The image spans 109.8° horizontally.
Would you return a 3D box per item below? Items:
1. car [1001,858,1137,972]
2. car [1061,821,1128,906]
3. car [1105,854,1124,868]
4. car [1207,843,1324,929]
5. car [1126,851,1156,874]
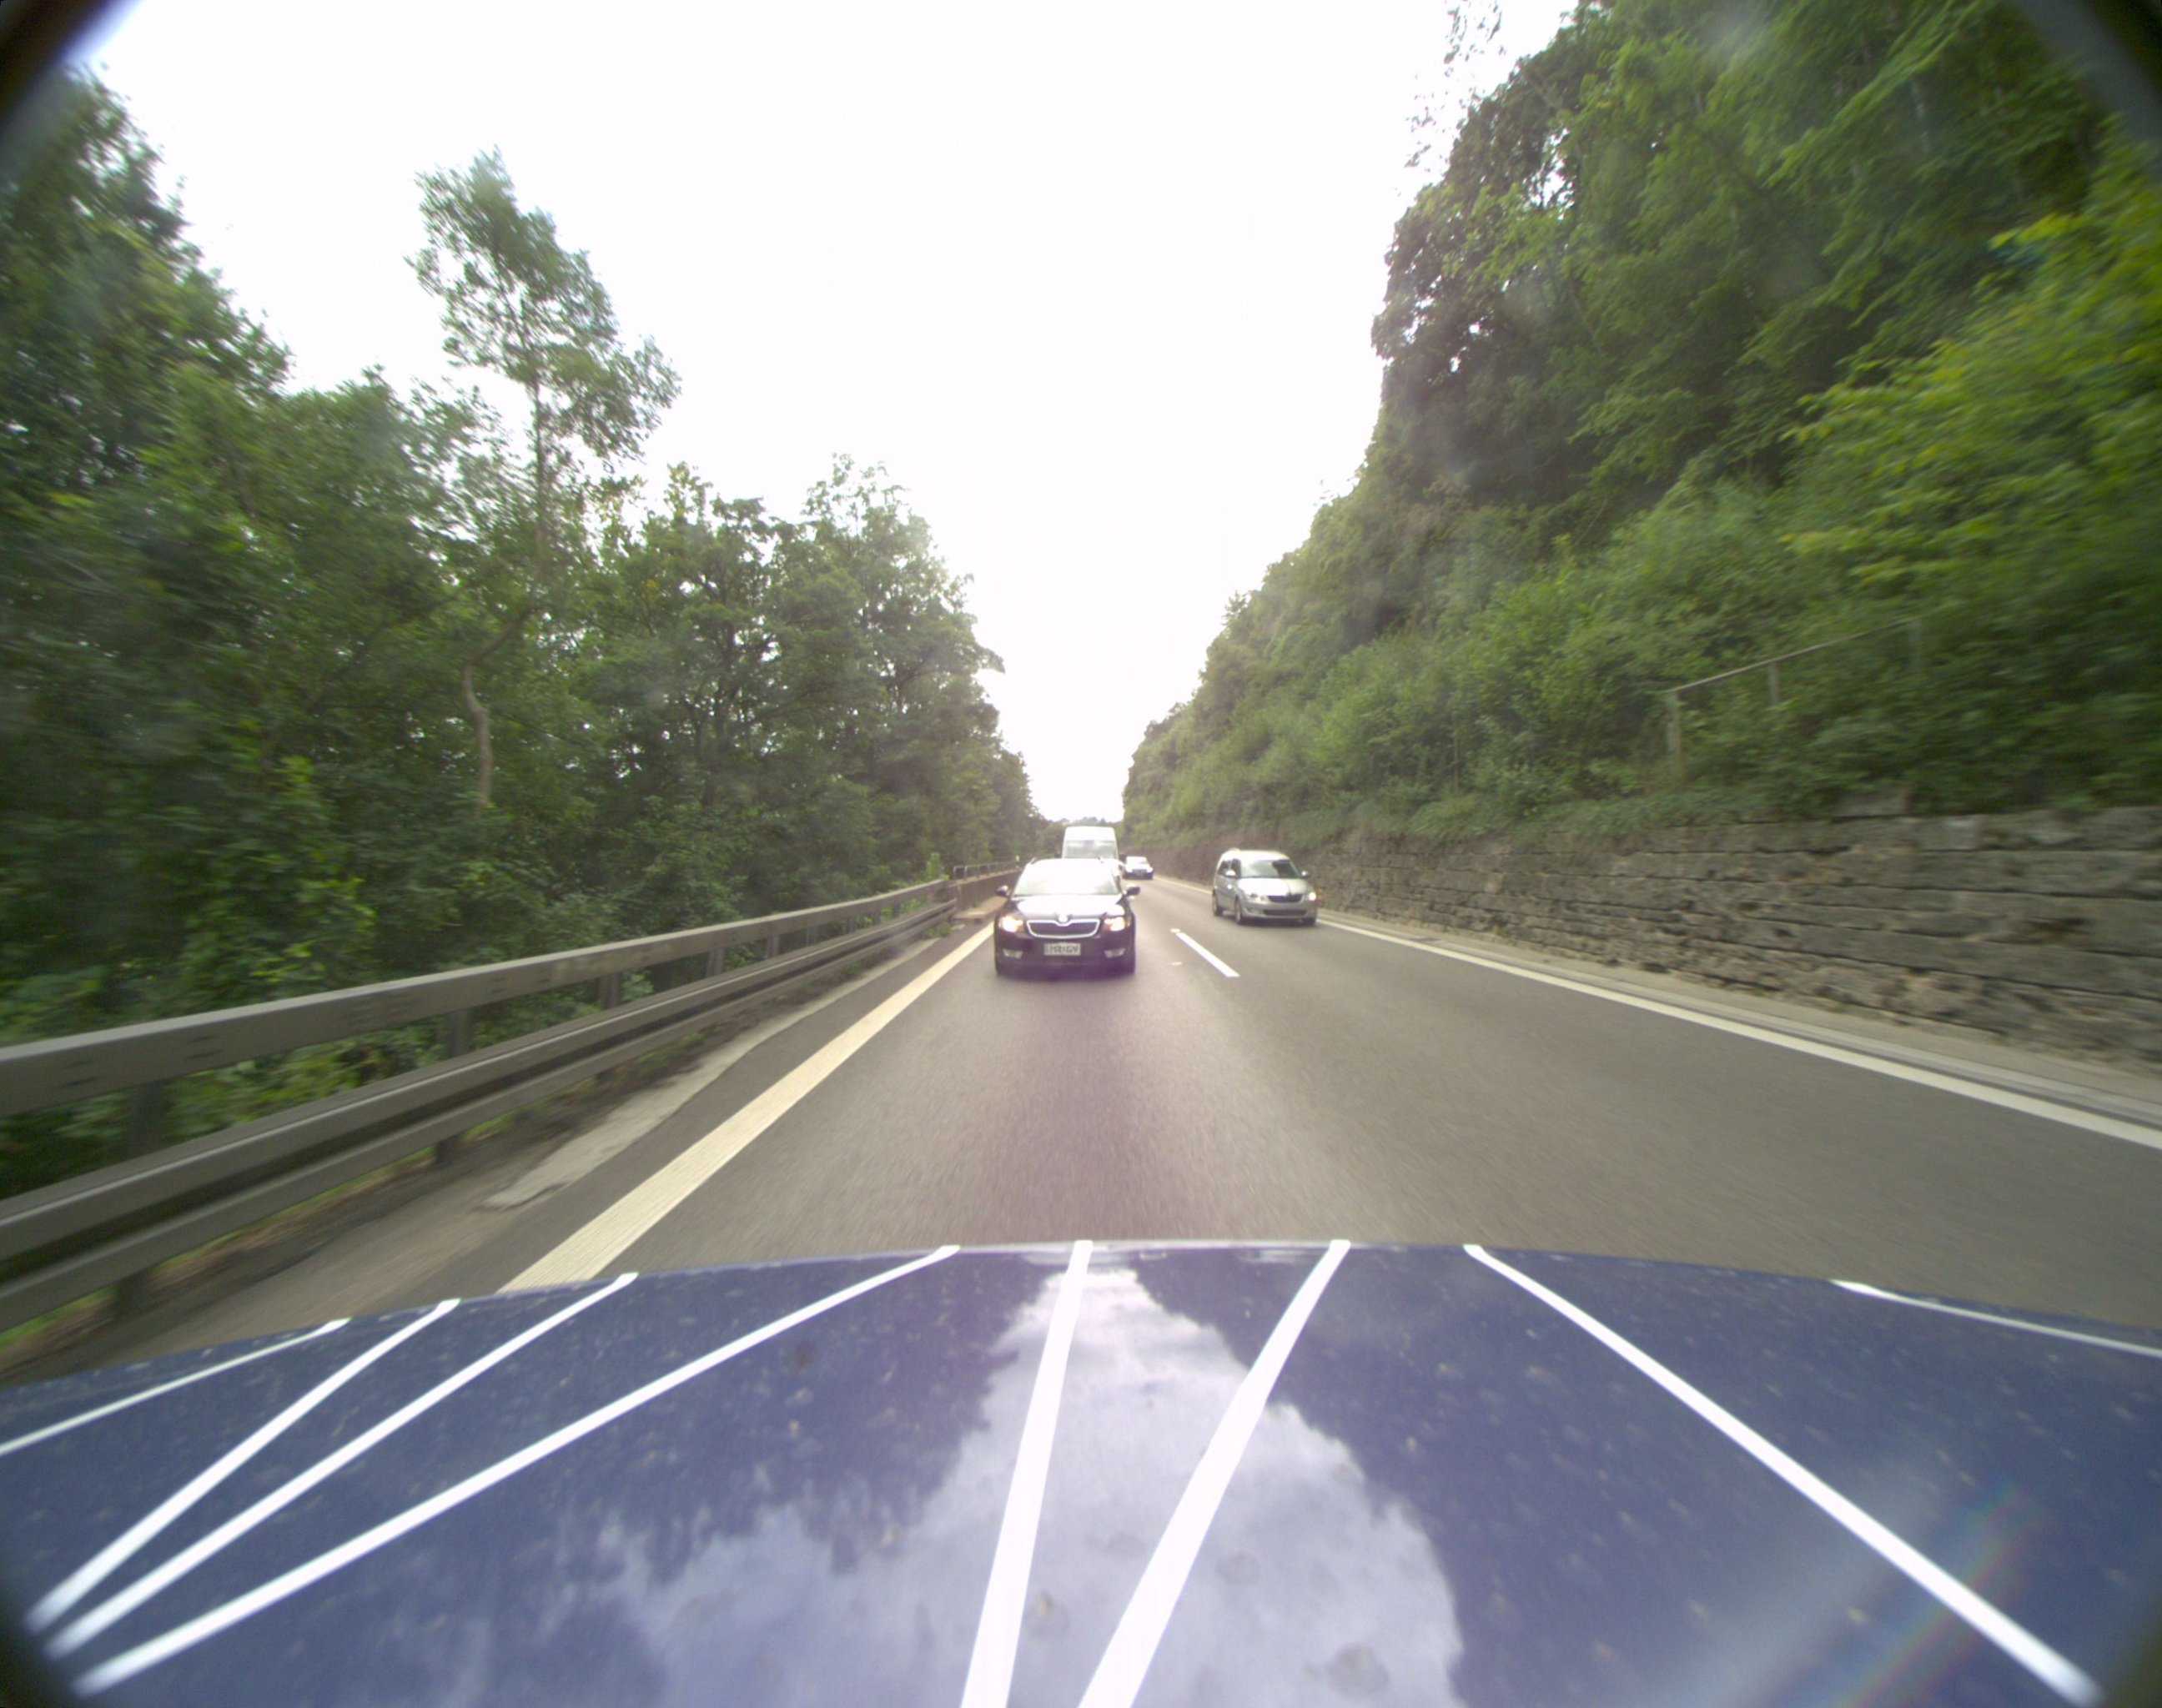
[{"bbox_3d":[-0.222,0.828,12.318,1.751,1.409,4.400,-3,0,-2],"label":"car"},{"bbox_3d":[0.417,0.258,25.684,2.001,2.545,5.127,1,1,0],"label":"car"},{"bbox_3d":[3.641,0.728,83.113,1.840,1.460,4.554,1,1,0],"label":"car"},{"bbox_3d":[4.037,0.619,17.332,1.638,1.716,4.344,0,1,0],"label":"car"},{"bbox_3d":[4.030,0.558,51.664,1.765,1.455,5.123,1,0,2],"label":"car"}]
